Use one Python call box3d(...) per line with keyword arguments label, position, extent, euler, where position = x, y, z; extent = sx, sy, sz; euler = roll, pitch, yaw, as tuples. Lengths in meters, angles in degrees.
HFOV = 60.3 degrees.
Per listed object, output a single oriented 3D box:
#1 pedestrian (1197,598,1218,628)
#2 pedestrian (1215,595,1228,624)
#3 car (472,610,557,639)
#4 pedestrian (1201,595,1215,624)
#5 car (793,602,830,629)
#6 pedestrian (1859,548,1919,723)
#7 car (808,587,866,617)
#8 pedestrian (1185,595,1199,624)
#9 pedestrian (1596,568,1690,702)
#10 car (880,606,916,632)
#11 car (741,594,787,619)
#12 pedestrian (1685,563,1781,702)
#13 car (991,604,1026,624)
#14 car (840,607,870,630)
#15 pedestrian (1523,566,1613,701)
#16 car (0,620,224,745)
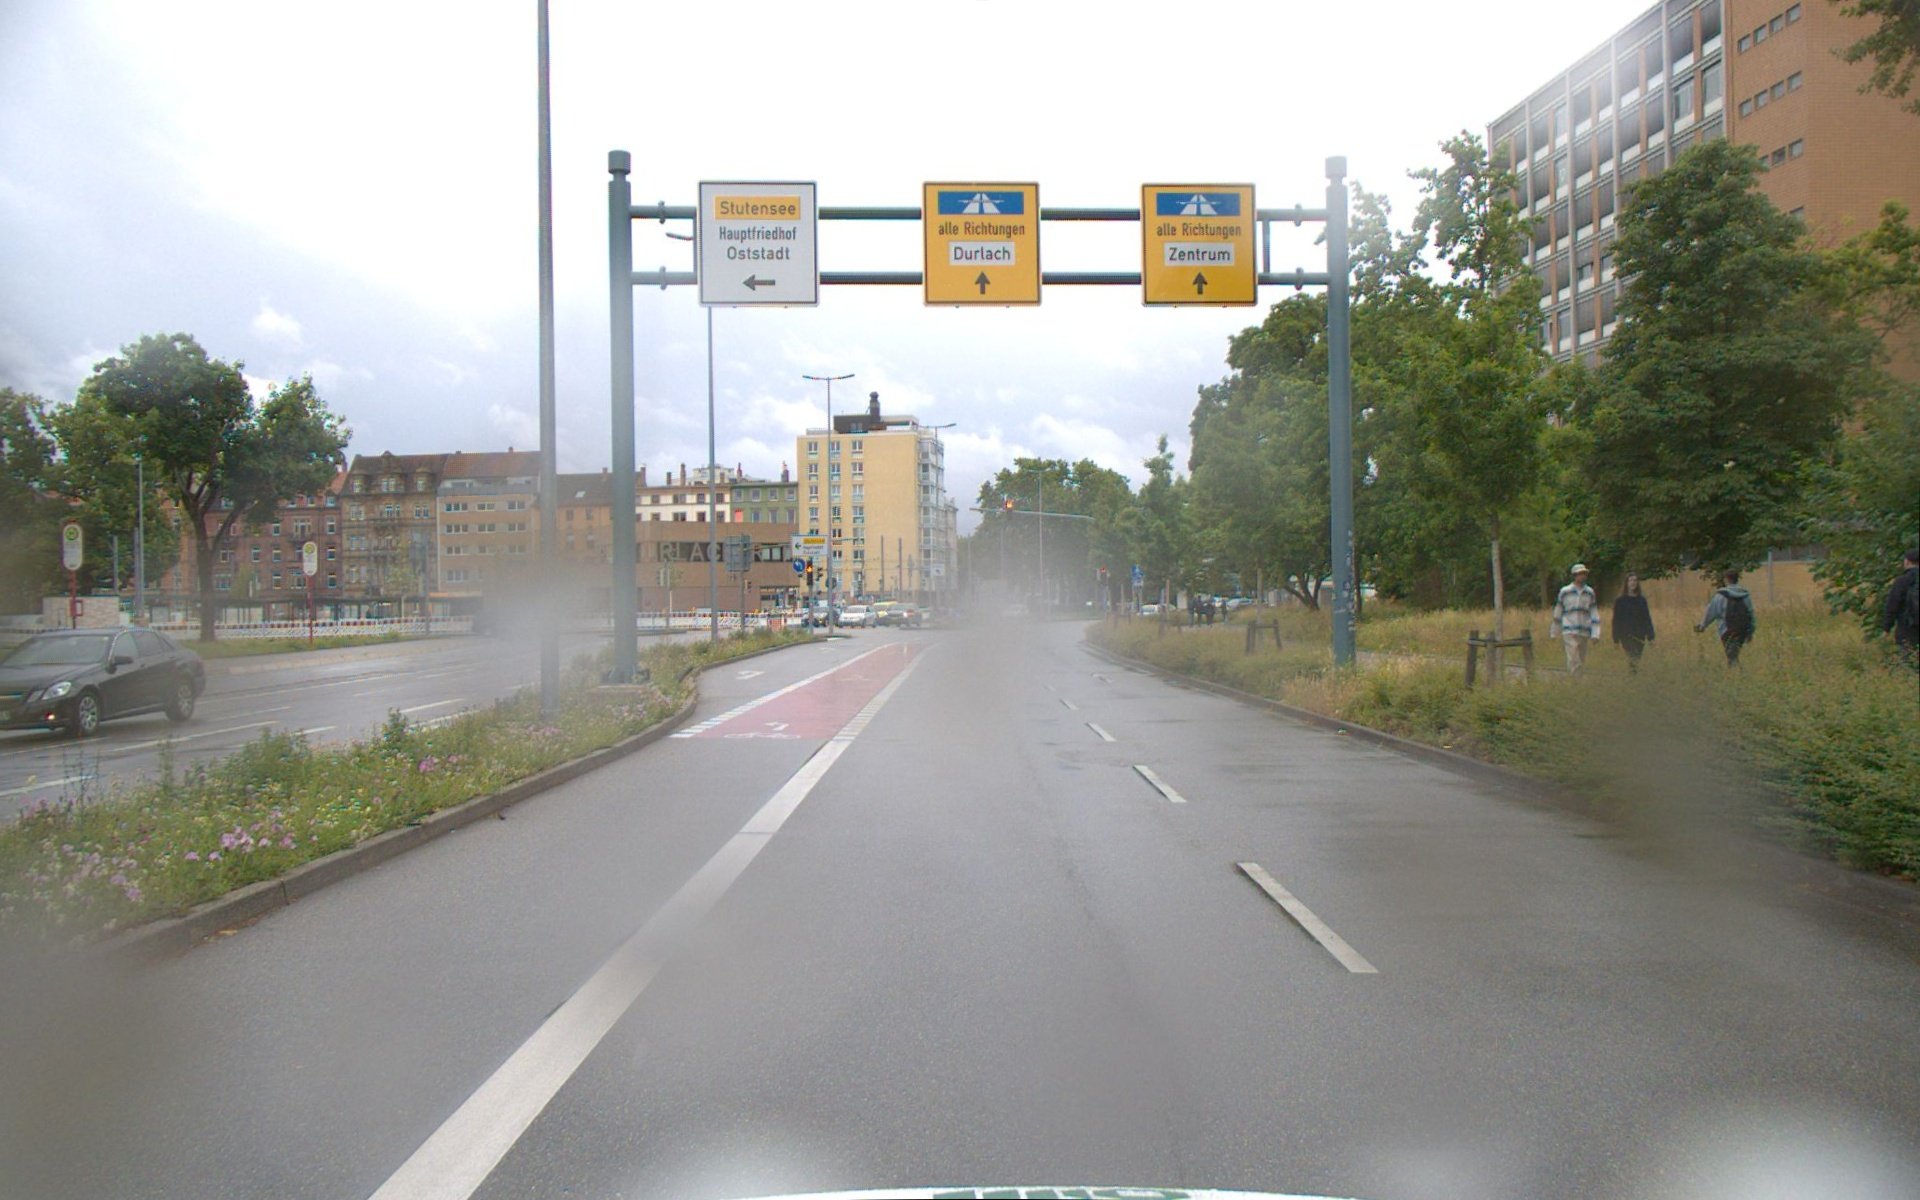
box3d(label="pedestrian", position=(13.473, 0.699, 90.002), extent=(1.000, 1.616, 0.937), euler=(-1, 0, 12))
box3d(label="pedestrian", position=(14.896, 0.522, 94.229), extent=(0.688, 1.616, 0.937), euler=(-1, 0, 12))
box3d(label="car", position=(-23.811, 1.304, 88.505), extent=(4.109, 1.427, 1.616), euler=(-1, 0, -4))
box3d(label="pedestrian", position=(14.162, 0.536, 94.430), extent=(0.688, 1.616, 0.937), euler=(-1, 0, 12))
box3d(label="car", position=(-10.205, 1.049, 113.938), extent=(1.669, 1.736, 3.823), euler=(-1, 0, 7))
box3d(label="pedestrian", position=(10.145, 0.352, 17.328), extent=(0.913, 1.778, 1.046), euler=(-1, 0, 5))
box3d(label="car", position=(-15.045, 0.250, 202.942), extent=(6.599, 3.439, 2.811), euler=(-1, 0, 5))
box3d(label="pedestrian", position=(13.312, 0.556, 94.833), extent=(0.737, 1.616, 0.937), euler=(-1, 0, 12))
box3d(label="pedestrian", position=(9.109, 0.456, 22.086), extent=(0.913, 1.733, 0.829), euler=(0, 2, 3))
box3d(label="car", position=(-4.437, 1.334, 118.861), extent=(1.951, 1.664, 4.606), euler=(-3, 0, 5))
box3d(label="car", position=(-24.186, 0.749, 203.938), extent=(5.237, 2.938, 2.340), euler=(-1, 0, 5))
box3d(label="pedestrian", position=(10.456, 0.431, 22.390), extent=(0.913, 1.828, 0.829), euler=(-1, 0, 5))
box3d(label="car", position=(4.129, 1.161, 139.495), extent=(1.645, 1.527, 3.868), euler=(-2, 0, 22))
box3d(label="car", position=(-6.880, 1.205, 108.402), extent=(1.644, 1.429, 4.158), euler=(-2, 0, 0))
box3d(label="pedestrian", position=(8.171, 0.434, 22.268), extent=(0.913, 1.750, 0.829), euler=(0, 2, 3))
box3d(label="car", position=(-12.857, 1.148, 24.305), extent=(1.771, 1.567, 4.704), euler=(-3, 0, 2))
